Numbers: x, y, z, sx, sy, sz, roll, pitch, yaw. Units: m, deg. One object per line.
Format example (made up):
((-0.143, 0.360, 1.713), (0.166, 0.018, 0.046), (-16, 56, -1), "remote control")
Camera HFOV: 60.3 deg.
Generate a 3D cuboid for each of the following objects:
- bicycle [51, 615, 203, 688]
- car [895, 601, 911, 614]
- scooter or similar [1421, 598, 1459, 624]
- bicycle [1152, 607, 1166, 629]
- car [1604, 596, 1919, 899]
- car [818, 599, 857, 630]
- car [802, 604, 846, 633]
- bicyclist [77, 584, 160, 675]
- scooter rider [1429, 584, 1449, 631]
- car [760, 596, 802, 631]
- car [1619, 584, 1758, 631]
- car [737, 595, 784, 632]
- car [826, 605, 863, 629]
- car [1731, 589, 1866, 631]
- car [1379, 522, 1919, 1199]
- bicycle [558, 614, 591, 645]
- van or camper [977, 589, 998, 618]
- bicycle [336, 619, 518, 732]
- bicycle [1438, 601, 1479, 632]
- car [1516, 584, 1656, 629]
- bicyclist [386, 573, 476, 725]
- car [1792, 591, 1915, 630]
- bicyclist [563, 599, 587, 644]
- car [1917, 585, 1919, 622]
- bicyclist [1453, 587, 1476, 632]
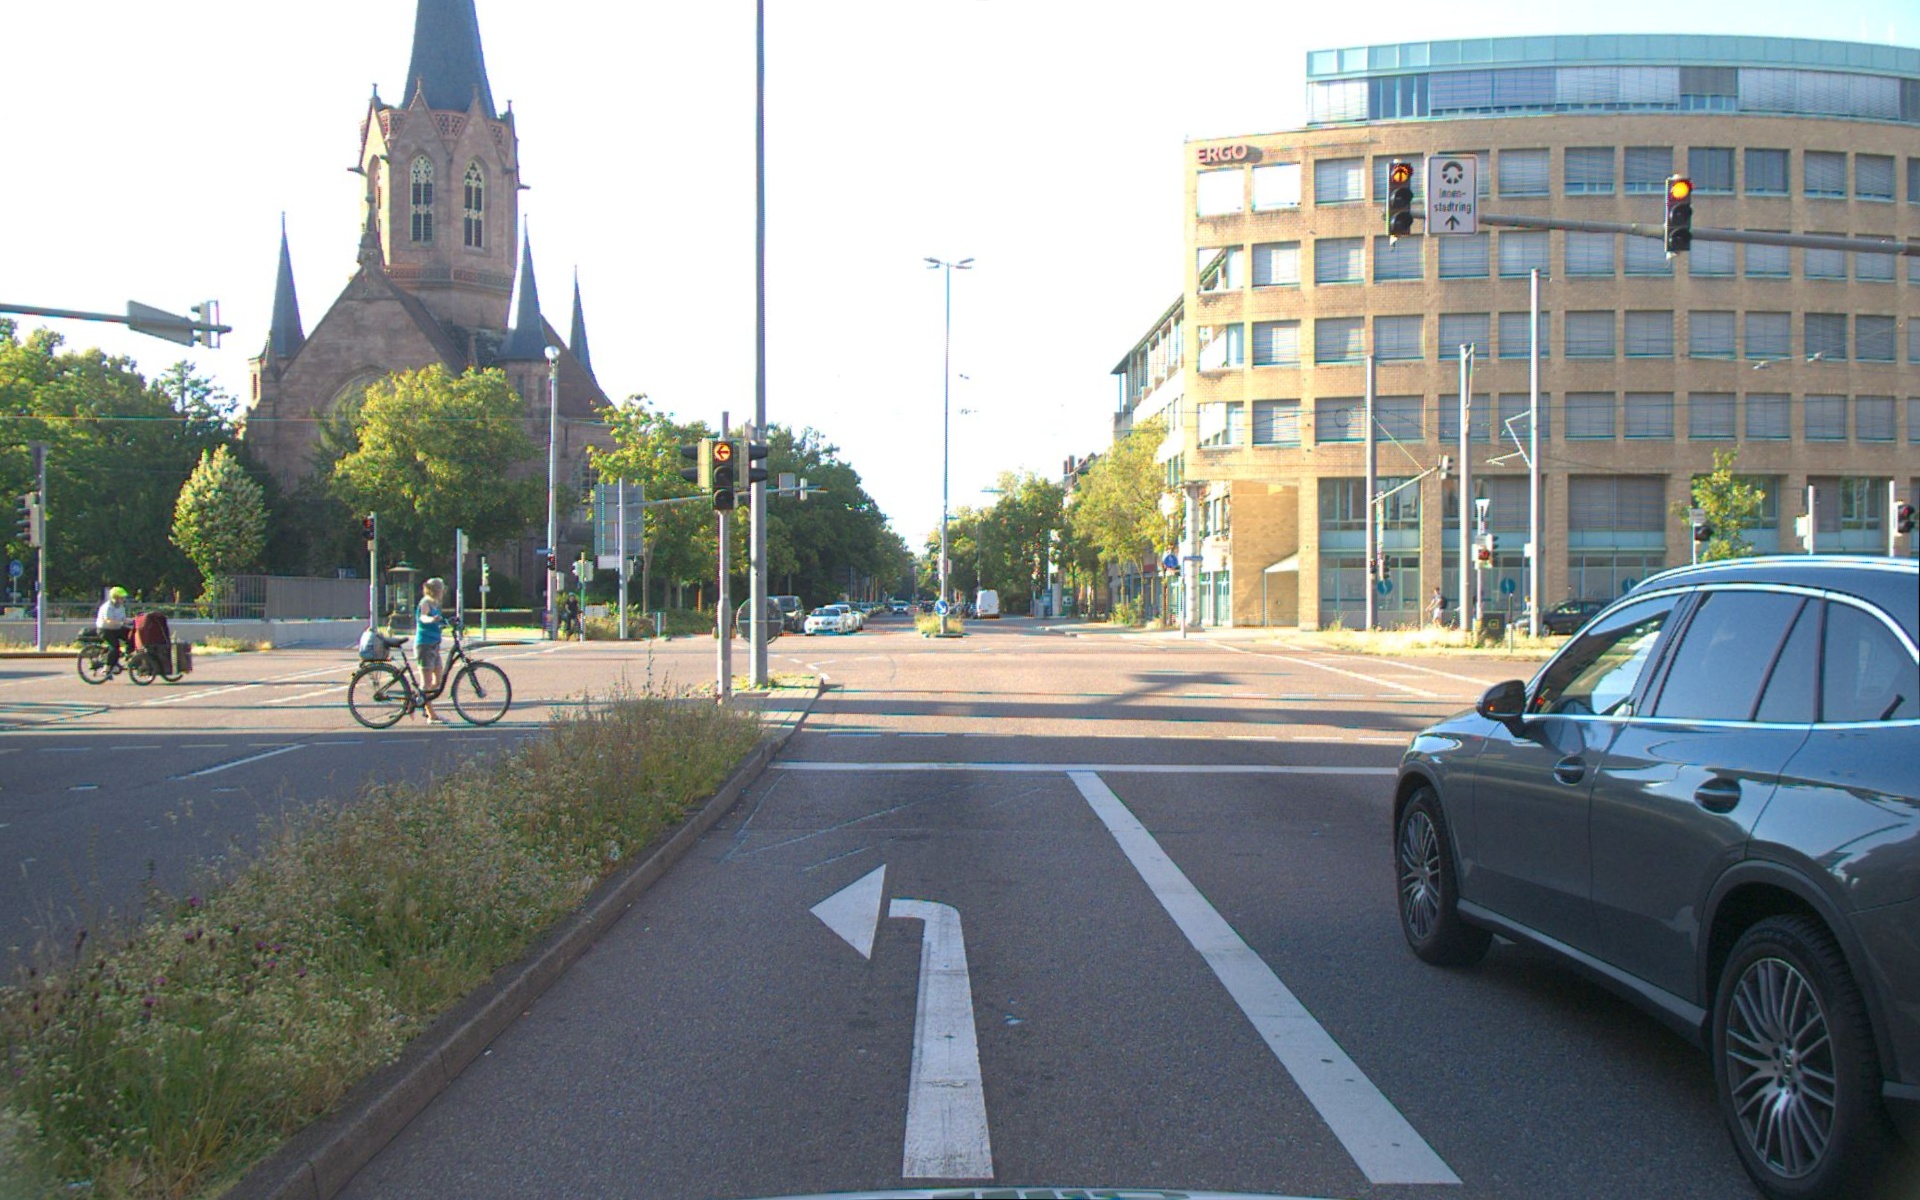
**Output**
((-14.173, 0.865, 28.199), (2.002, 1.188, 1.161), (0, 0, -3), "bicycle")
((-6.519, 0.814, 189.791), (1.744, 1.474, 3.999), (0, 0, -1), "car")
((19.033, 0.443, 65.594), (1.371, 1.019, 0.475), (0, 0, 5), "scooter or similar")
((11.345, 1.010, 94.200), (0.757, 1.216, 2.467), (0, 0, 6), "bicycle")
((5.409, 0.735, 9.942), (1.552, 1.472, 3.646), (1, 0, -2), "car")
((-6.097, 0.702, 82.630), (1.744, 1.490, 3.999), (0, 0, -1), "car")
((-6.216, 0.850, 76.052), (1.744, 1.258, 3.999), (0, 0, -1), "car")
((-14.321, 0.489, 28.174), (0.862, 1.513, 1.161), (0, 0, -3), "bicyclist")
((19.004, 0.281, 65.607), (0.665, 1.846, 0.475), (0, 0, 5), "scooter rider")
((-9.067, 0.667, 83.919), (1.744, 1.734, 3.999), (0, 0, -1), "car")
((26.136, 0.272, 59.443), (4.142, 1.642, 2.000), (0, 0, 0), "car")
((-9.198, 0.604, 76.515), (1.744, 1.676, 3.999), (0, 0, -1), "car")
((-6.254, 0.904, 89.889), (1.744, 1.258, 3.999), (0, 0, -1), "car")
((31.899, 0.371, 62.989), (4.146, 1.528, 1.998), (0, 0, -5), "car")
((2.889, 0.647, 5.428), (1.748, 1.661, 4.477), (0, 0, -2), "car")
((-14.905, 1.151, 63.939), (0.640, 1.159, 1.657), (0, 0, -37), "bicycle")
((2.583, 0.269, 156.010), (1.953, 2.686, 5.350), (0, 0, 0), "van or camper")
((-5.934, 0.826, 18.470), (1.791, 1.209, 0.733), (0, 0, -3), "bicycle")
((19.523, 0.642, 64.782), (1.487, 1.193, 0.475), (0, 0, 5), "bicycle")
((23.701, 0.233, 62.743), (4.555, 1.626, 1.998), (0, 0, -4), "car")
((-6.018, 0.542, 18.845), (0.767, 1.689, 0.900), (0, 0, -4), "bicyclist")
((32.256, 0.356, 59.773), (3.535, 1.366, 1.721), (0, 0, -1), "car")
((-14.880, 0.827, 63.911), (0.634, 1.724, 0.772), (0, 0, -37), "bicyclist")
((37.380, 0.122, 60.271), (3.908, 1.370, 1.999), (0, 0, -4), "car")
((19.692, 0.362, 64.591), (0.774, 1.766, 0.475), (0, 0, 5), "bicyclist")
